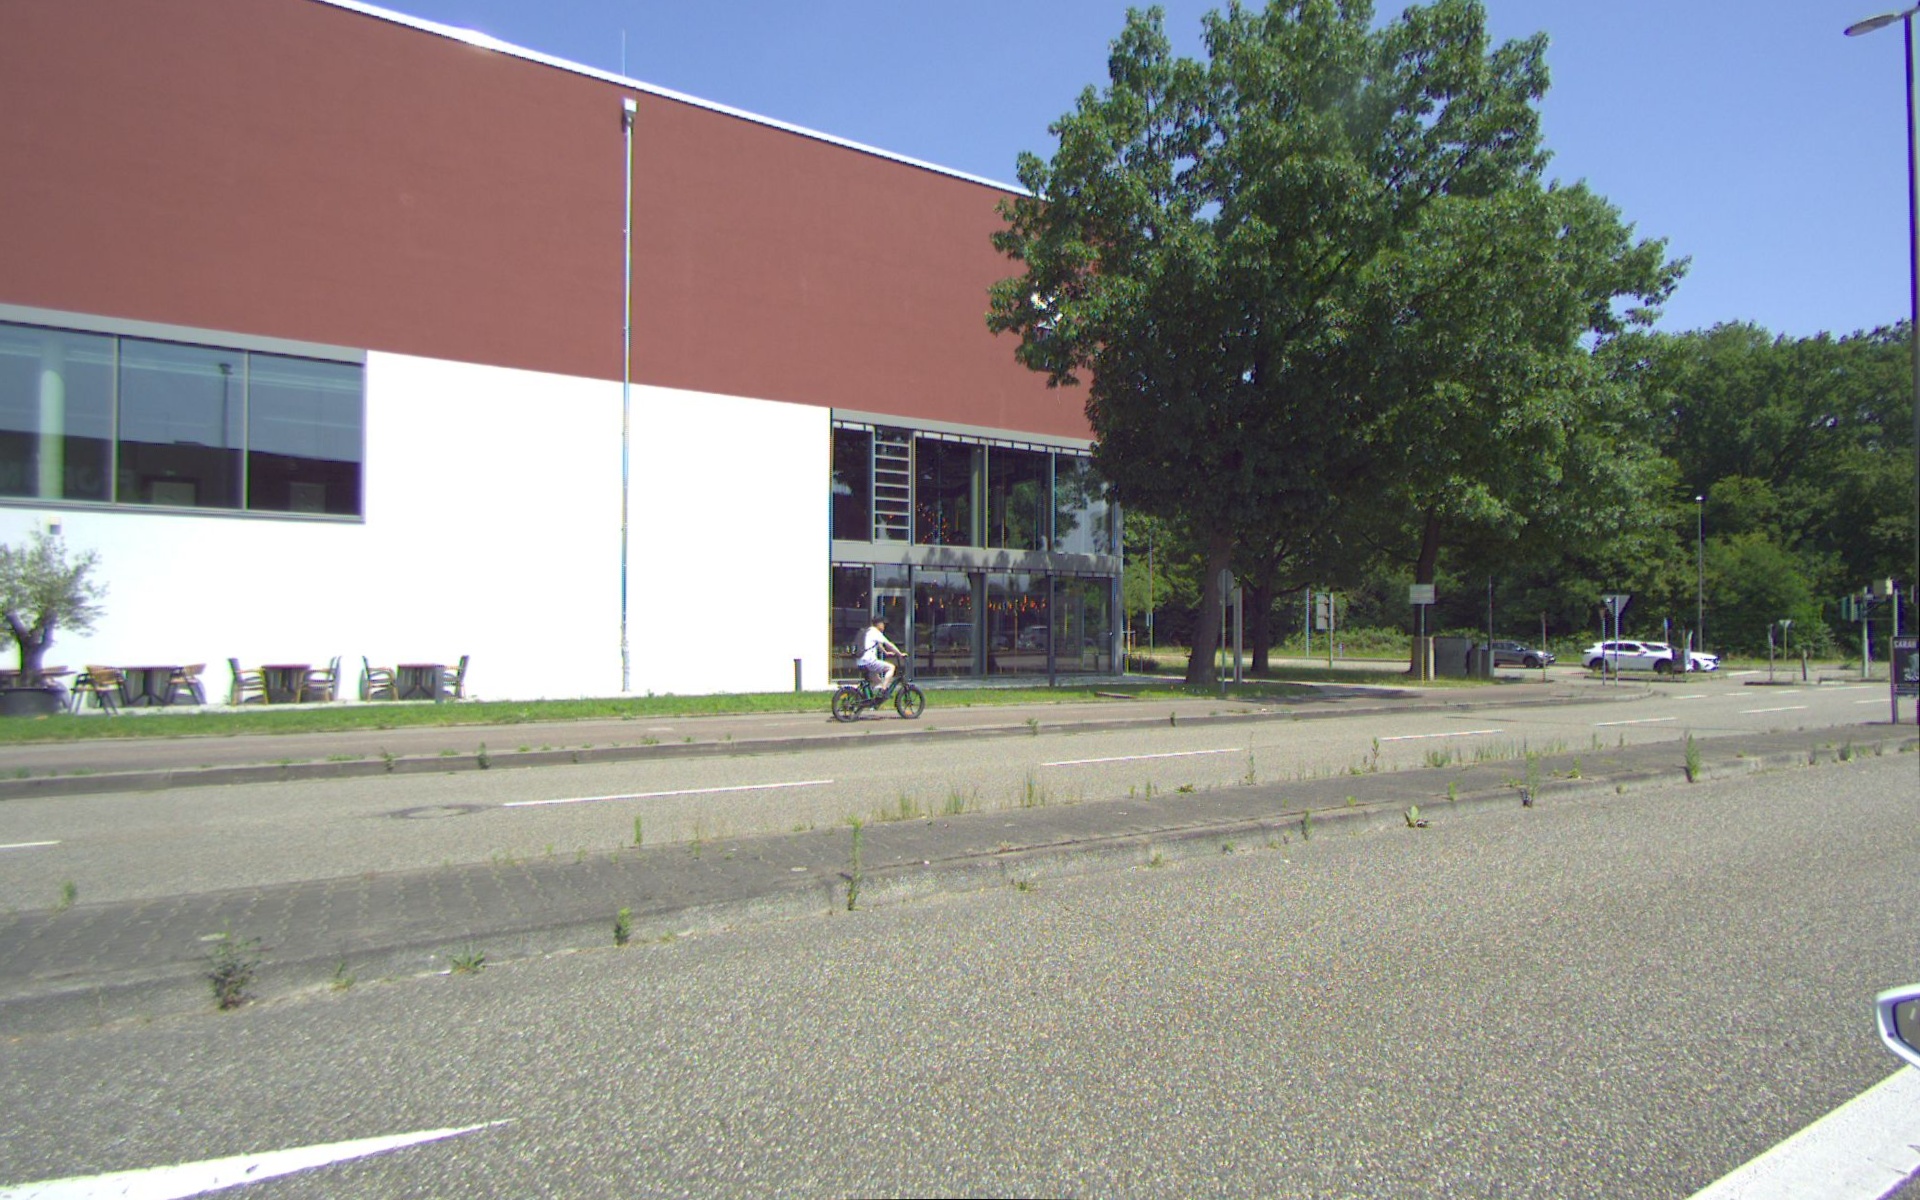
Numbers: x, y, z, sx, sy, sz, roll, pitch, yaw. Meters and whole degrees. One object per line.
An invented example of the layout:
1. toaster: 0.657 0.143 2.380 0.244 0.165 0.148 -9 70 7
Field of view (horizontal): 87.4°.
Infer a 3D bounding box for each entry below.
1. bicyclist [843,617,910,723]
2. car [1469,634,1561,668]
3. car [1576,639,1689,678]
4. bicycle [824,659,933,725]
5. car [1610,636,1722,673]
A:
1. bicyclist: -1.346 1.108 16.164 0.913 1.652 0.605 1 -2 -30
2. car: 32.184 2.945 58.333 1.796 1.704 4.332 2 -1 -41
3. car: 33.402 2.871 49.986 1.794 1.704 4.338 2 0 -37
4. bicycle: -1.303 1.449 16.142 1.640 0.982 0.614 1 -2 -30
5. car: 36.550 2.850 52.091 1.794 1.703 4.340 2 -6 -37
